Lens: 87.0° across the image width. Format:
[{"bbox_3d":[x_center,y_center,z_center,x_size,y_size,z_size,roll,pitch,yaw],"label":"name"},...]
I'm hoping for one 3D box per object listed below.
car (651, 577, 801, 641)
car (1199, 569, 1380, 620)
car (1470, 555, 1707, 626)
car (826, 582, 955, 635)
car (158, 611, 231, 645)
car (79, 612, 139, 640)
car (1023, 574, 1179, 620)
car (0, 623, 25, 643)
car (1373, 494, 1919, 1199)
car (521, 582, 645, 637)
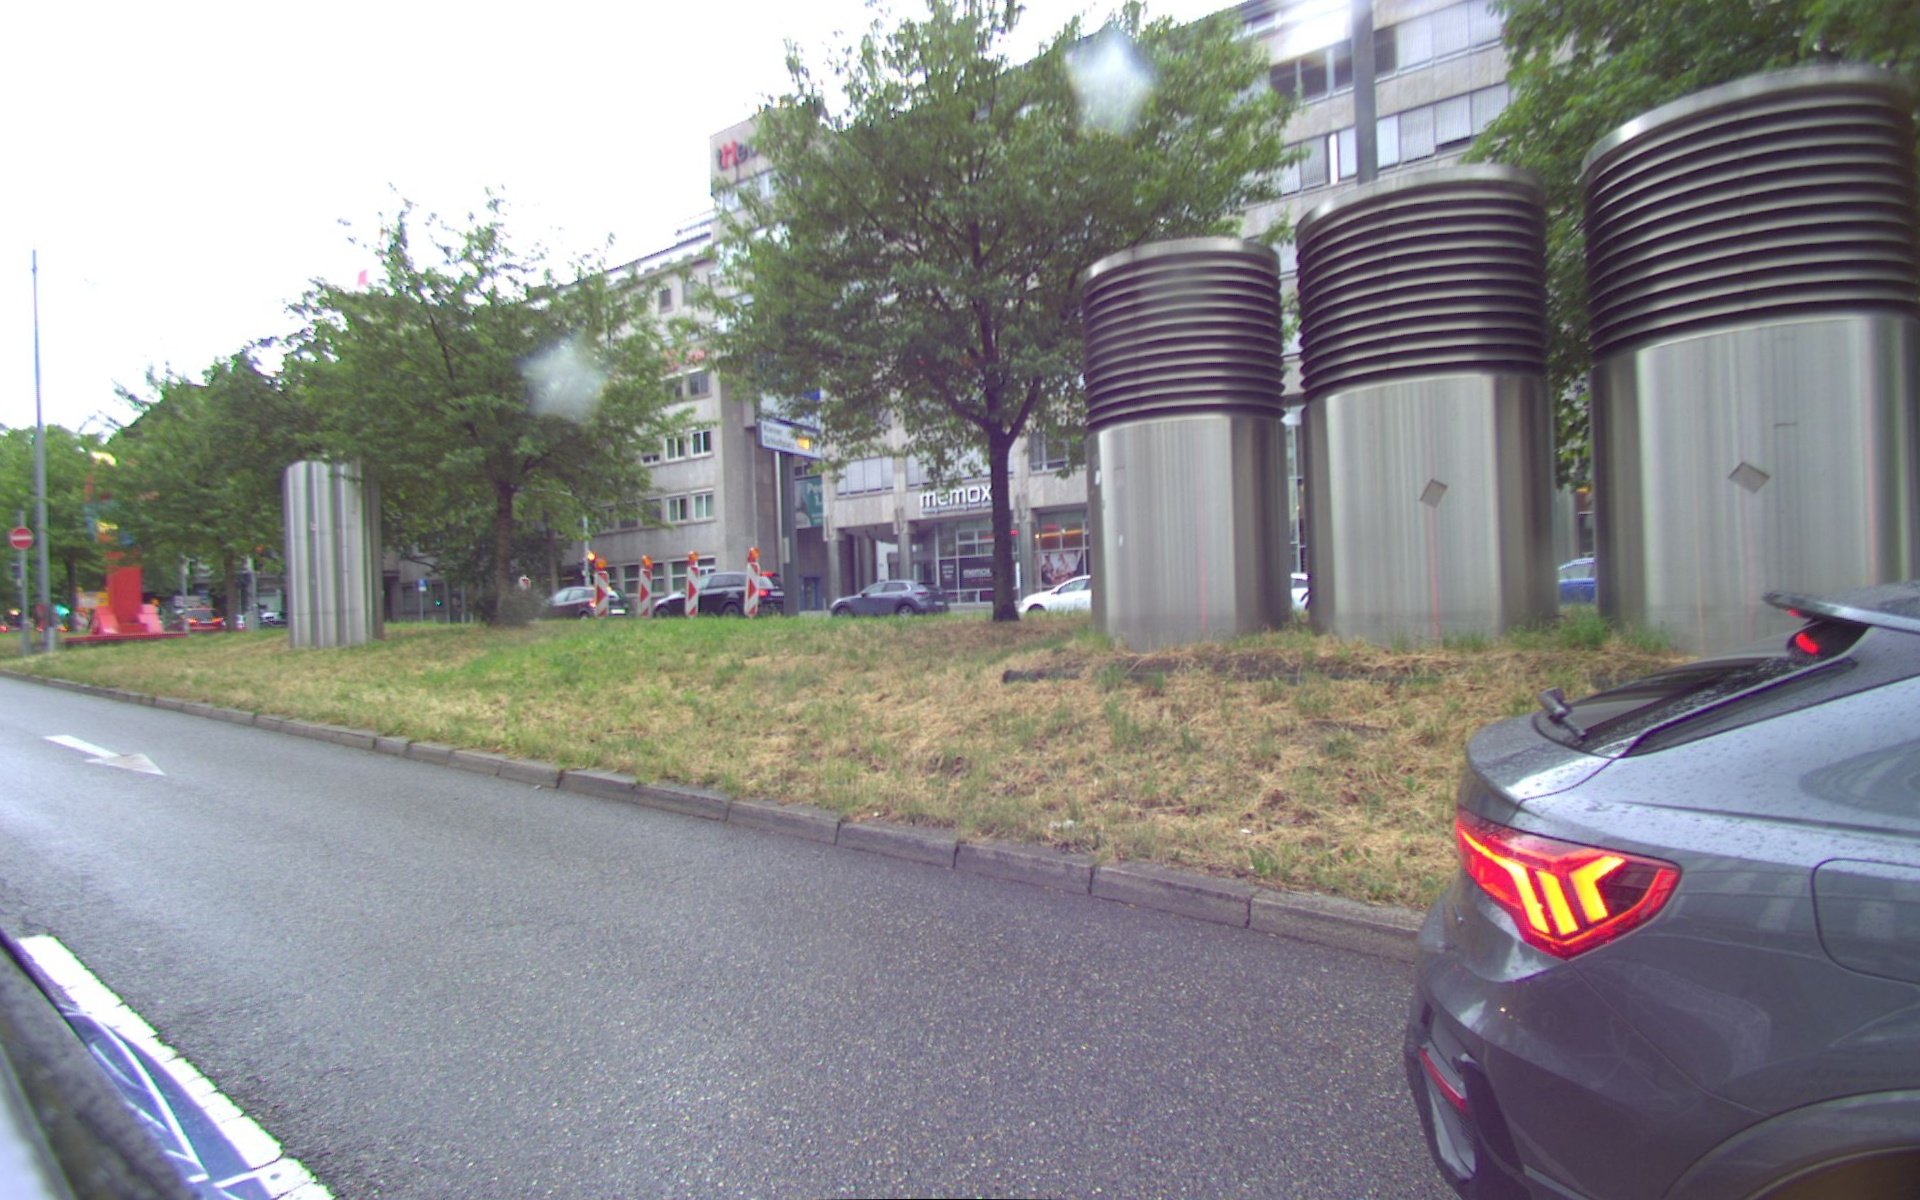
[{"bbox_3d":[-6.587,0.247,28.313,4.101,1.592,1.858,-1,2,38],"label":"car"},{"bbox_3d":[8.358,-0.139,25.785,4.096,1.130,1.558,-1,2,33],"label":"car"},{"bbox_3d":[13.869,-0.194,22.530,4.308,1.395,1.662,-1,2,33],"label":"car"},{"bbox_3d":[-2.326,0.292,33.507,4.096,1.592,1.558,-1,2,33],"label":"car"},{"bbox_3d":[-40.571,1.491,53.620,4.101,1.599,2.048,-1,2,38],"label":"car"},{"bbox_3d":[-54.633,1.678,64.968,4.101,1.599,2.048,-1,2,38],"label":"car"},{"bbox_3d":[3.986,-0.082,28.866,4.096,1.130,1.558,-1,2,33],"label":"car"},{"bbox_3d":[-84.743,2.958,89.660,4.101,1.599,2.048,-1,2,38],"label":"car"},{"bbox_3d":[2.923,0.594,0.971,4.339,1.529,1.843,-1,0,38],"label":"car"},{"bbox_3d":[-12.237,0.305,32.765,4.101,1.592,1.858,-1,2,38],"label":"car"}]
